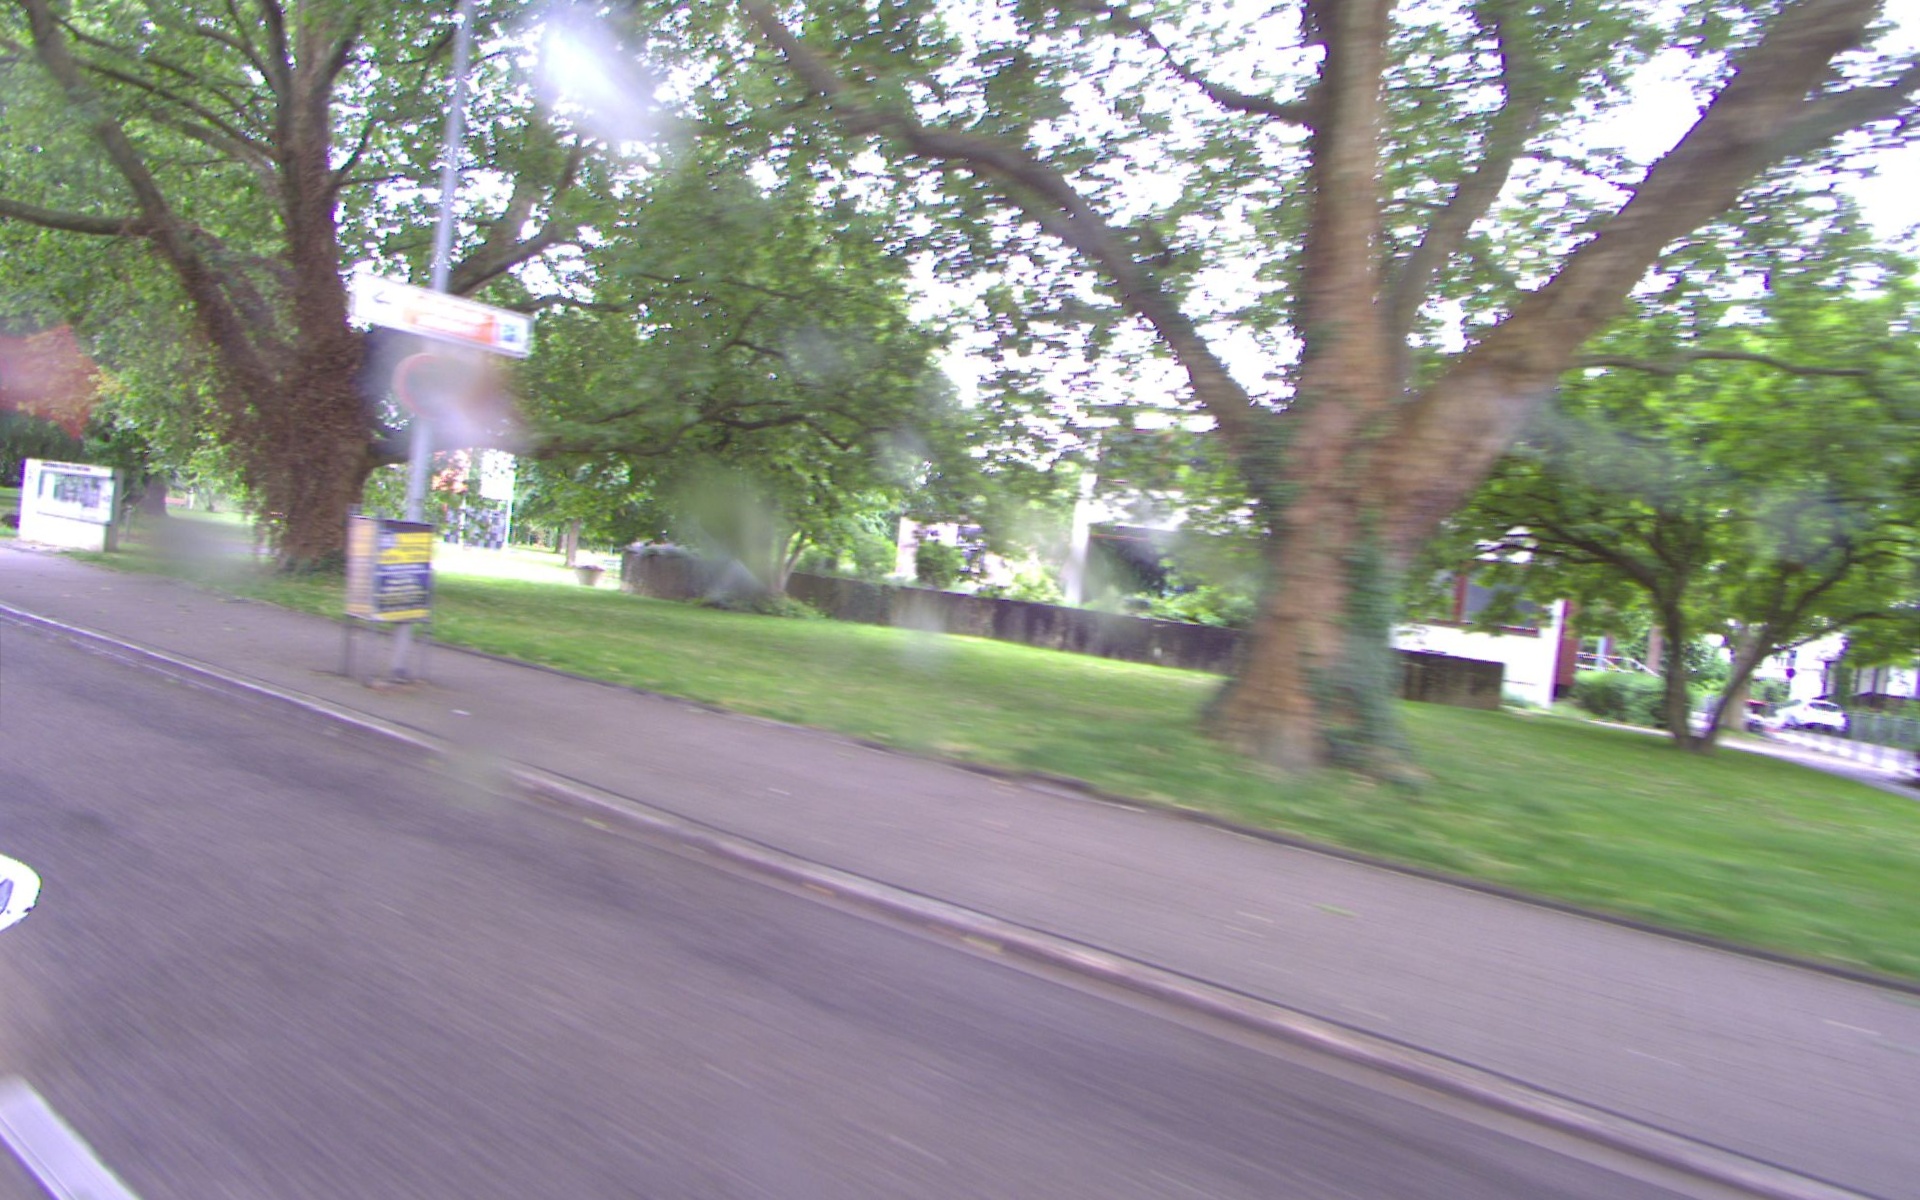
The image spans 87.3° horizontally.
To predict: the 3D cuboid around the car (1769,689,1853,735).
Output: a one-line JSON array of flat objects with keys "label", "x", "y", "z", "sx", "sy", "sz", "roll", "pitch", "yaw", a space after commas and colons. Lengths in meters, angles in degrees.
[{"label": "car", "x": 37.912, "y": 4.958, "z": 44.921, "sx": 1.705, "sy": 1.591, "sz": 3.929, "roll": 7, "pitch": 1, "yaw": 25}]
